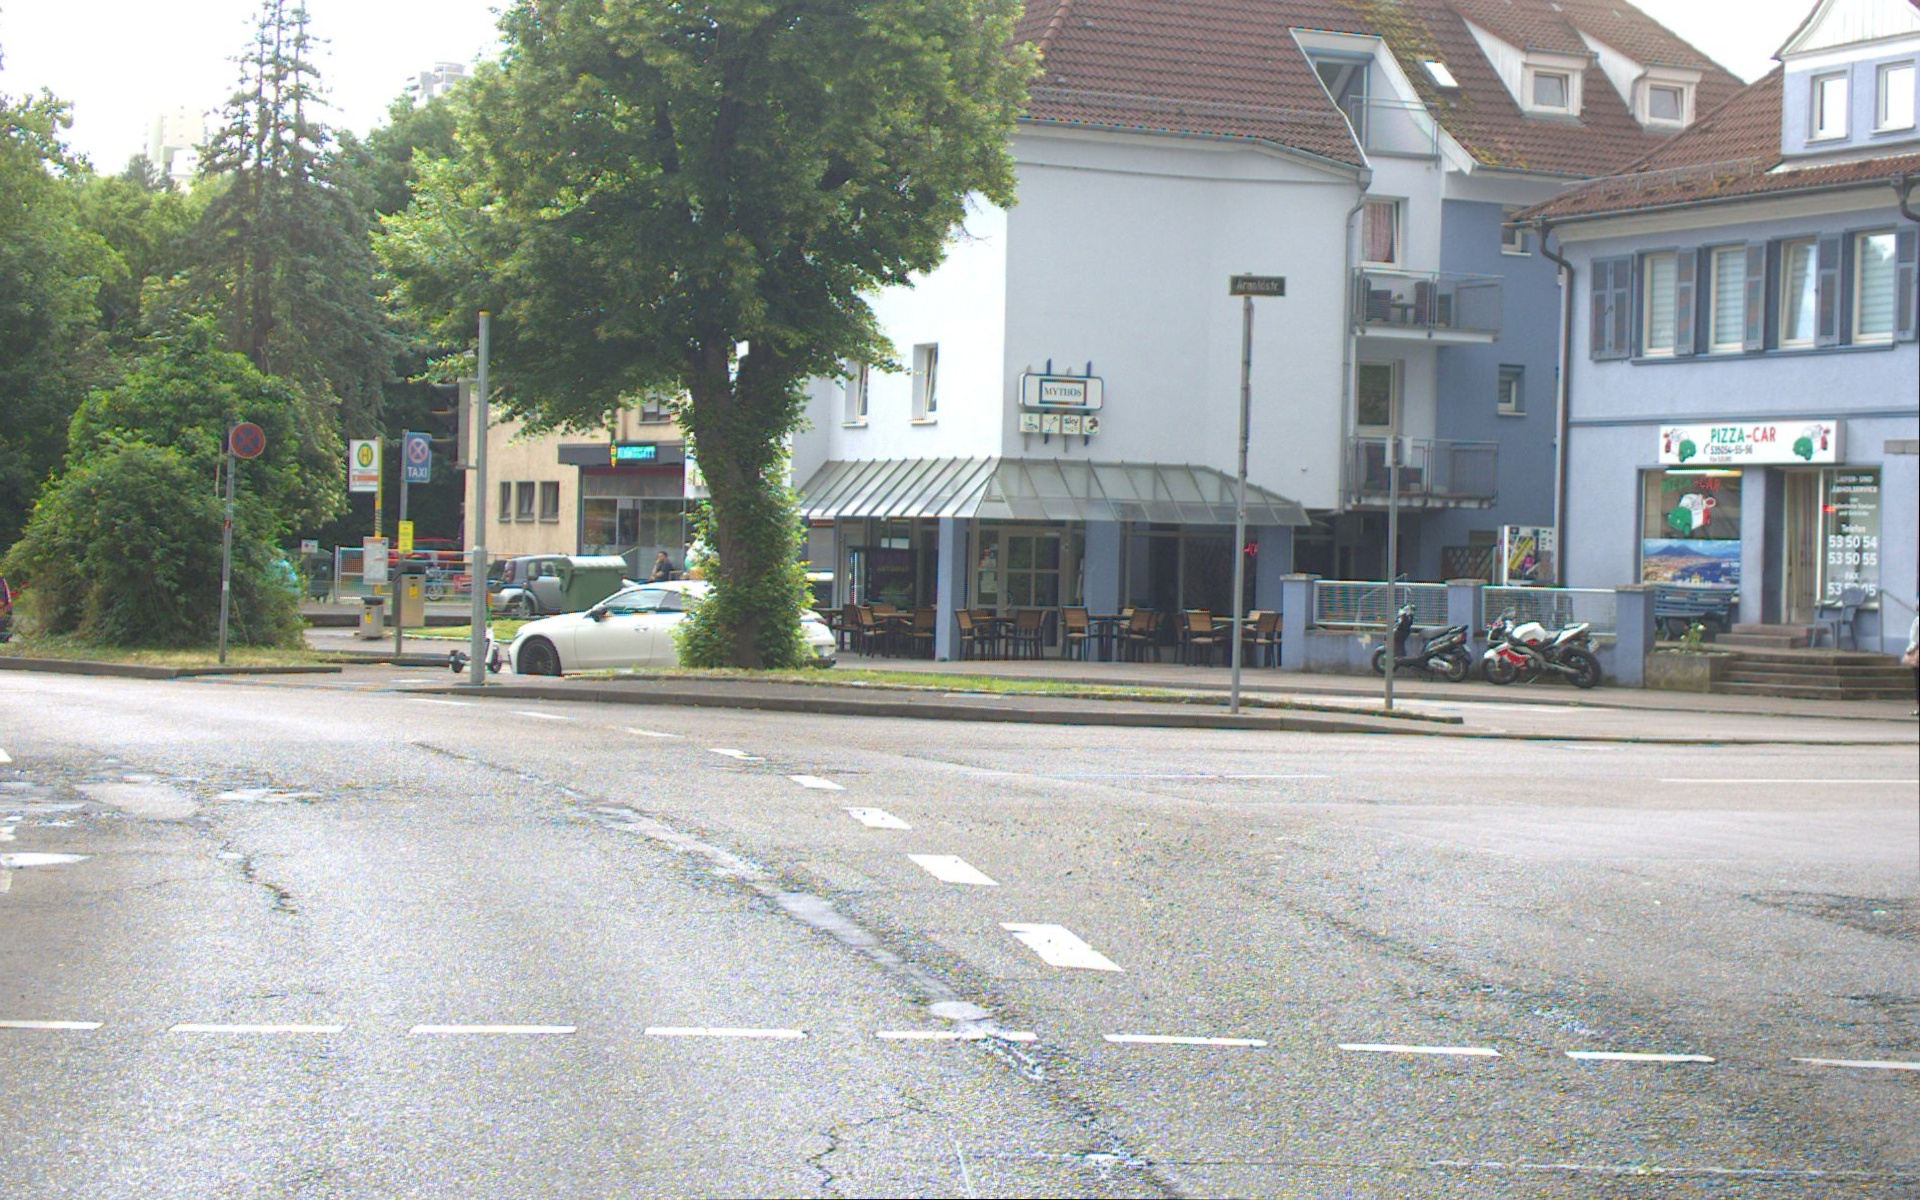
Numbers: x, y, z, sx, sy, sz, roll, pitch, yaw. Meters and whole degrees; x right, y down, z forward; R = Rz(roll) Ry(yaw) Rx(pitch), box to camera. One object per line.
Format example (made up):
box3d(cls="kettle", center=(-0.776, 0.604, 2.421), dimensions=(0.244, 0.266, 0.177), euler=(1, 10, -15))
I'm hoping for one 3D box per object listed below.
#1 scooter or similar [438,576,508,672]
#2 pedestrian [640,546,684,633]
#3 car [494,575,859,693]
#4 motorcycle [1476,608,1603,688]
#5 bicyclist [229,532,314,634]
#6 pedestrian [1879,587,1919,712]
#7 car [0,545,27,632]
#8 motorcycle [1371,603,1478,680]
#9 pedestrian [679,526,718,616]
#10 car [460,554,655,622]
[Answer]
box3d(cls="scooter or similar", center=(-6.029, 0.287, 42.613), dimensions=(0.442, 1.171, 1.437), euler=(1, 1, 9))
box3d(cls="pedestrian", center=(-7.014, -0.253, 80.944), dimensions=(0.837, 2.007, 1.056), euler=(1, 1, -14))
box3d(cls="car", center=(-3.804, 0.425, 45.757), dimensions=(4.709, 1.405, 1.898), euler=(2, 1, 35))
box3d(cls="motorcycle", center=(8.150, 0.668, 48.361), dimensions=(1.628, 1.085, 0.626), euler=(1, 1, 32))
box3d(cls="bicyclist", center=(-11.244, -0.279, 56.153), dimensions=(0.987, 1.646, 0.916), euler=(1, 1, 38))
box3d(cls="pedestrian", center=(12.034, 0.621, 43.203), dimensions=(0.732, 1.554, 0.767), euler=(1, 0, 31))
box3d(cls="car", center=(-16.419, -0.212, 53.517), dimensions=(3.322, 1.347, 1.778), euler=(1, 1, 27))
box3d(cls="motorcycle", center=(6.774, 0.596, 50.130), dimensions=(1.458, 1.085, 0.523), euler=(1, 1, 35))
box3d(cls="pedestrian", center=(-4.508, -0.497, 59.272), dimensions=(0.543, 1.554, 0.467), euler=(0, 0, 13))
box3d(cls="car", center=(-8.856, -0.263, 75.626), dimensions=(3.936, 1.437, 1.753), euler=(1, 1, -20))
